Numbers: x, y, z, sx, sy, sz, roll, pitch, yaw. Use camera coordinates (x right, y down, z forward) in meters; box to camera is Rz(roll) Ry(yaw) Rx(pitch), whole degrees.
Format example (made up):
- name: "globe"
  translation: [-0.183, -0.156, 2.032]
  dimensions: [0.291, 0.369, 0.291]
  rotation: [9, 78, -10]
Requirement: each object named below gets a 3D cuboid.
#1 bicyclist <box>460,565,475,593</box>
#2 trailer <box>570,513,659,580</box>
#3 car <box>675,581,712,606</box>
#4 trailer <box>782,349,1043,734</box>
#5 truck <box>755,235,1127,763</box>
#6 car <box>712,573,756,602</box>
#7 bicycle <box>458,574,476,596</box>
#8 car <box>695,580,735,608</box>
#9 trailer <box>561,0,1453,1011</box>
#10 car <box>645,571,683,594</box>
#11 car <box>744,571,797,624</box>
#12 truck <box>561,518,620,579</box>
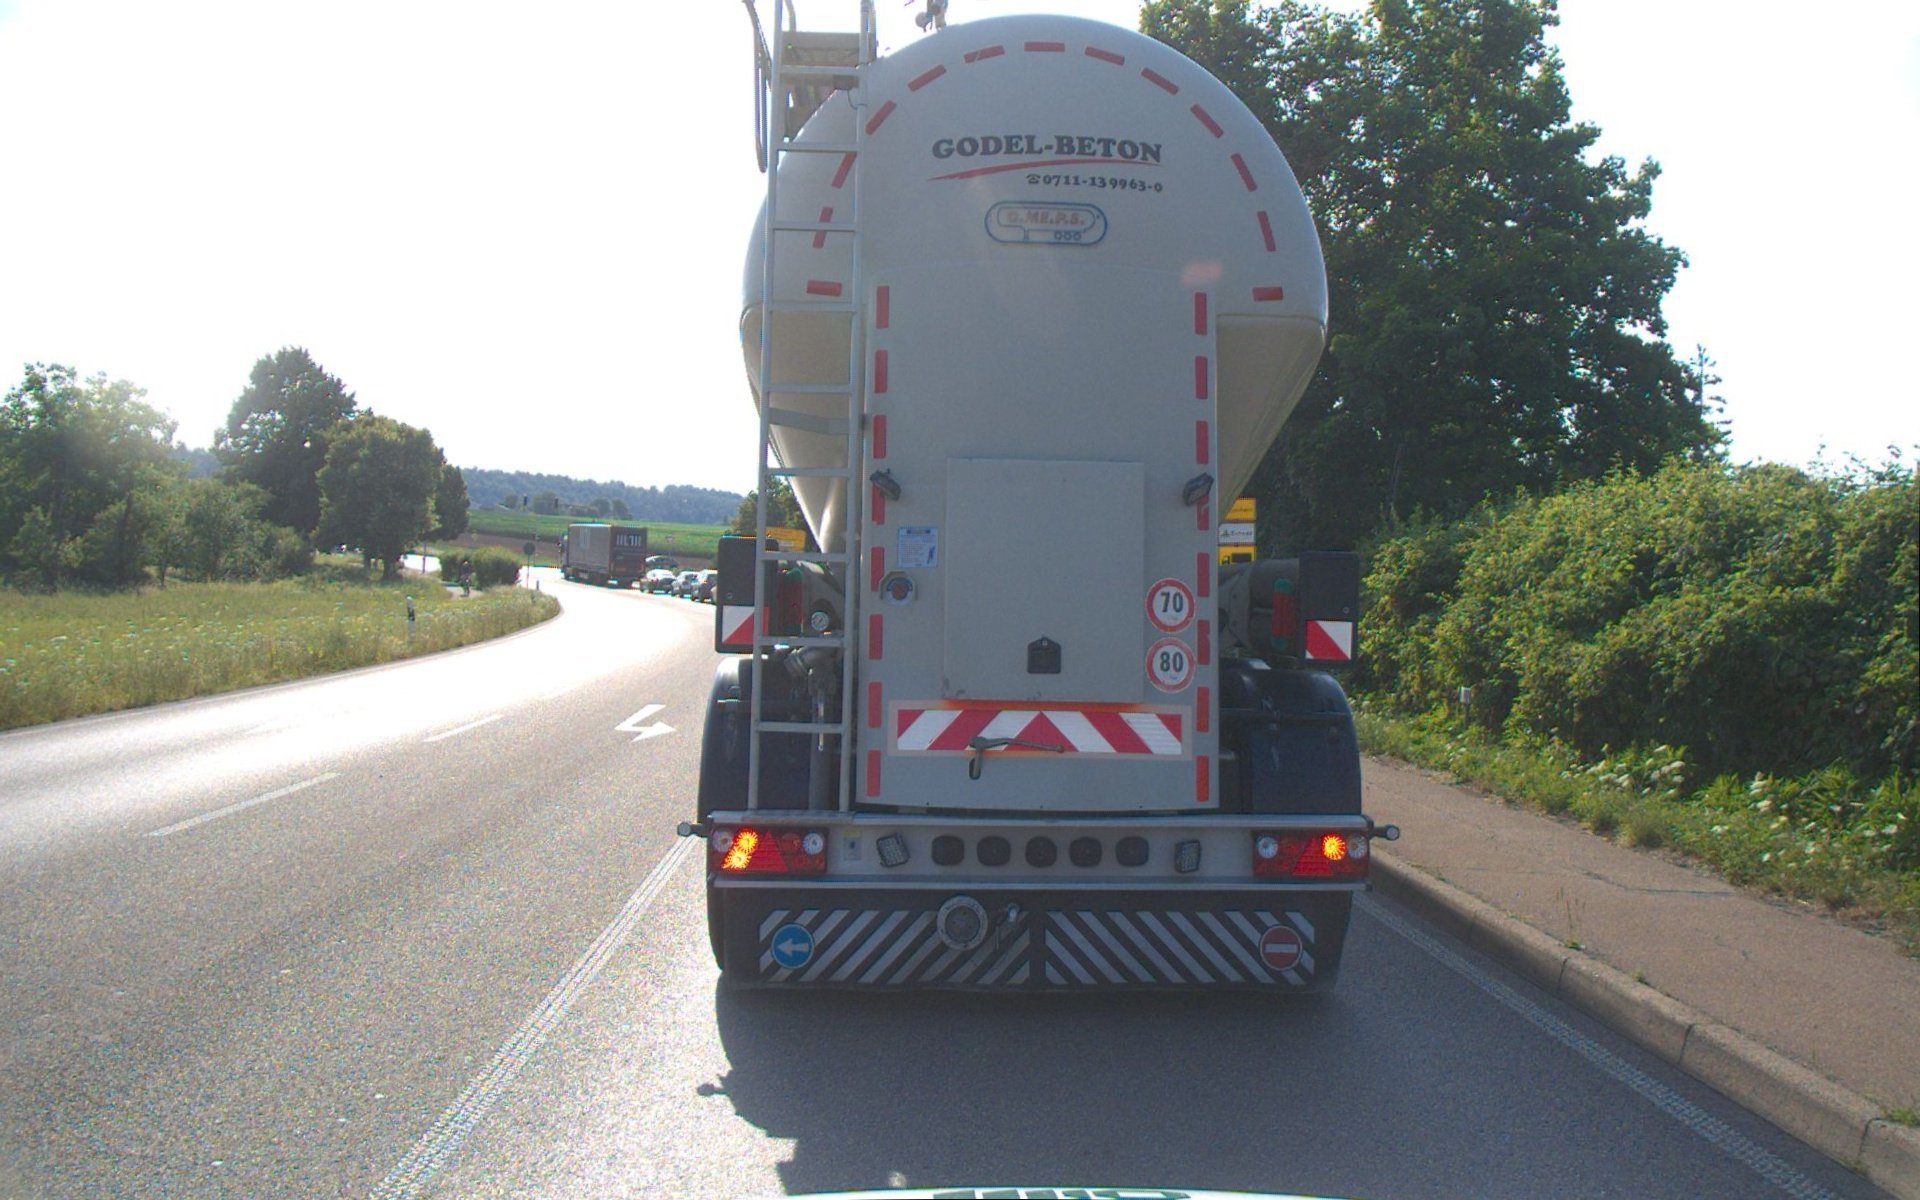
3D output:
- name: "bicyclist"
  translation: [-25.665, -1.090, 86.172]
  dimensions: [0.623, 1.444, 0.689]
  rotation: [3, 0, -9]
- name: "trailer"
  translation: [-25.062, -3.793, 119.176]
  dimensions: [3.331, 4.426, 14.190]
  rotation: [2, 0, -23]
- name: "car"
  translation: [-15.433, -0.395, 95.656]
  dimensions: [1.556, 1.364, 3.408]
  rotation: [2, 0, -18]
- name: "trailer"
  translation: [-0.633, -0.724, 26.447]
  dimensions: [2.895, 4.390, 14.173]
  rotation: [2, 0, -1]
- name: "truck"
  translation: [-0.226, -0.791, 14.964]
  dimensions: [2.851, 4.076, 4.058]
  rotation: [1, 0, -3]
- name: "car"
  translation: [-11.129, -0.624, 81.356]
  dimensions: [1.556, 1.364, 3.408]
  rotation: [2, 0, -18]
- name: "bicycle"
  translation: [-25.703, -0.773, 86.255]
  dimensions: [0.623, 1.093, 1.667]
  rotation: [3, 0, -9]
- name: "car"
  translation: [-12.969, -0.323, 87.395]
  dimensions: [1.556, 1.364, 3.408]
  rotation: [2, 0, -18]
- name: "trailer"
  translation: [-0.036, -0.732, 10.321]
  dimensions: [2.851, 4.076, 9.925]
  rotation: [1, 0, -3]
- name: "car"
  translation: [-18.240, -1.104, 101.880]
  dimensions: [1.743, 1.226, 3.408]
  rotation: [-7, 3, -18]
- name: "car"
  translation: [-7.696, -0.118, 67.039]
  dimensions: [1.828, 2.049, 3.709]
  rotation: [1, 0, -11]
- name: "truck"
  translation: [-28.356, -3.952, 126.785]
  dimensions: [3.331, 4.426, 5.664]
  rotation: [2, 0, -24]
